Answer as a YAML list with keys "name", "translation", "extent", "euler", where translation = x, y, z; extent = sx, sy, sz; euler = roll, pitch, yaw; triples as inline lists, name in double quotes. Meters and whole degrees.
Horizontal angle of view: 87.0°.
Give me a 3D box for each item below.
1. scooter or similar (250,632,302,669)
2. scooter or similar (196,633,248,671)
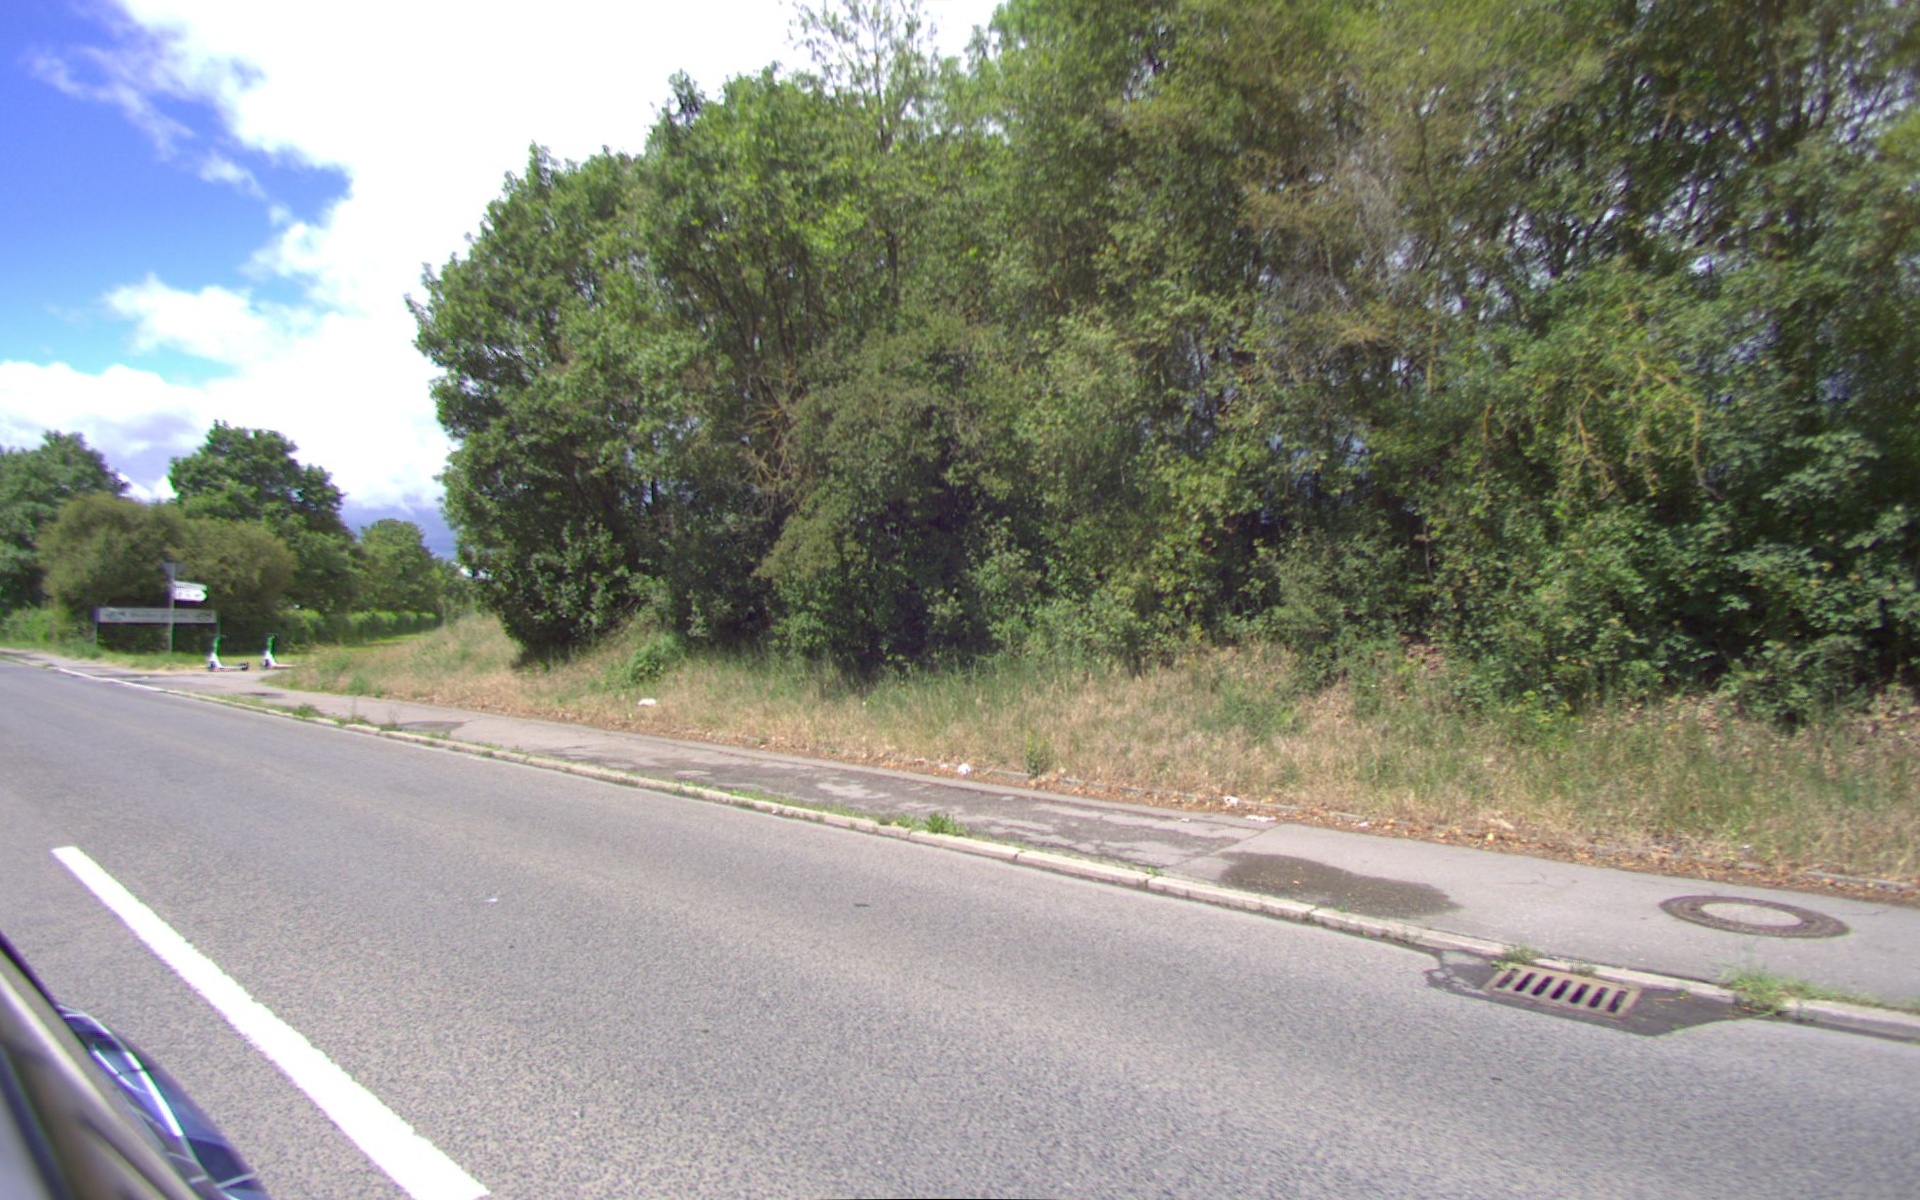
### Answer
- name: "scooter or similar"
  translation: [-21.995, 1.618, 32.547]
  extent: [1.329, 1.177, 0.407]
  euler: [0, -1, -8]
- name: "scooter or similar"
  translation: [-23.333, 1.629, 31.998]
  extent: [1.331, 1.177, 0.407]
  euler: [0, -1, -2]
